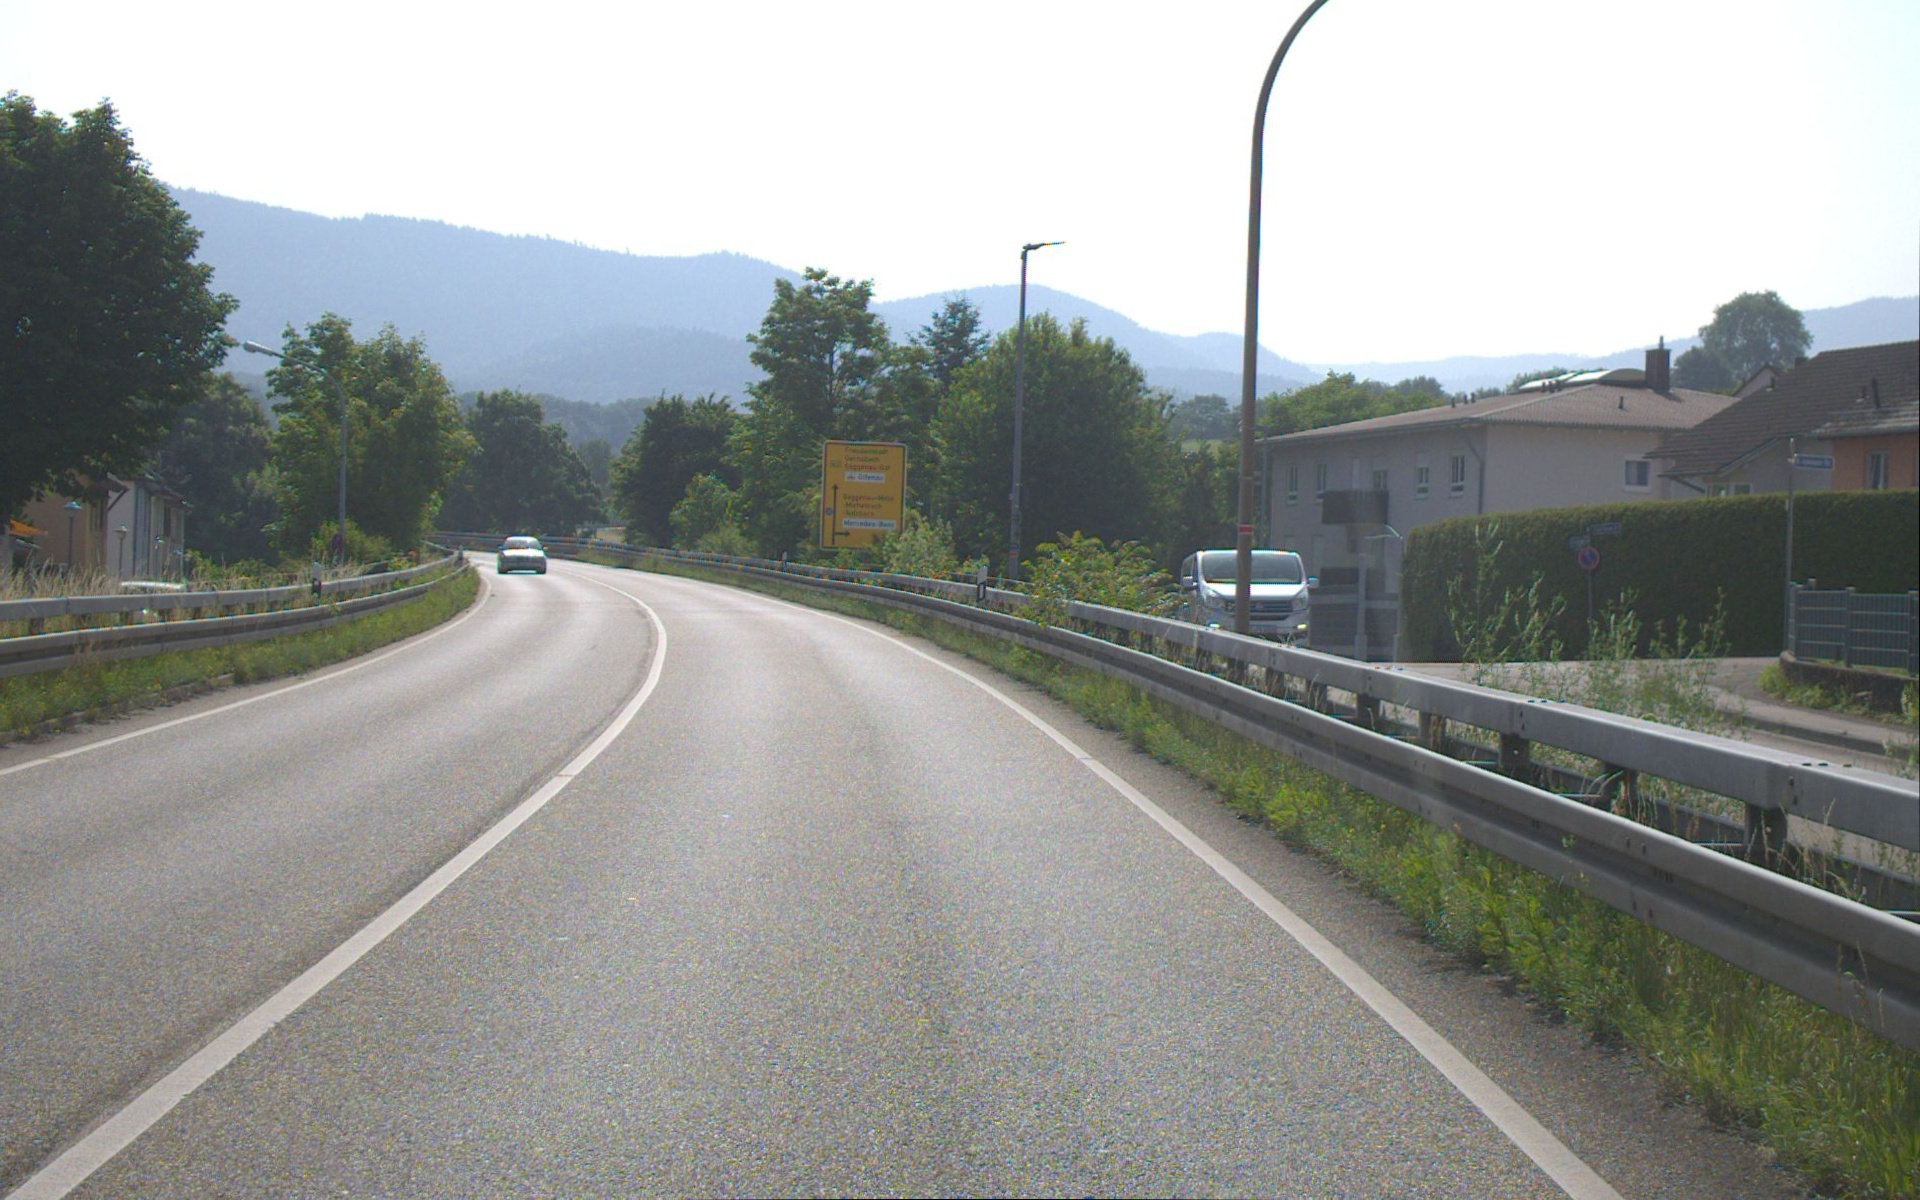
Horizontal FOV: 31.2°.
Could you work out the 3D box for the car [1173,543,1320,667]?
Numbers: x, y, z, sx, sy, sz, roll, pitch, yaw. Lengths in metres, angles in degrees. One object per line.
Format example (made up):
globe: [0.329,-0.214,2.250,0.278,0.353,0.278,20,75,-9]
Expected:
car: [4.830,0.039,58.705,1.993,1.938,5.362,1,1,0]

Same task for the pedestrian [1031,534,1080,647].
pedestrian: [1.728,-0.176,62.255,0.788,2.007,0.997,1,1,-2]

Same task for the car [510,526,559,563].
car: [-16.473,-2.159,133.152,1.758,1.406,3.990,-1,1,-5]
